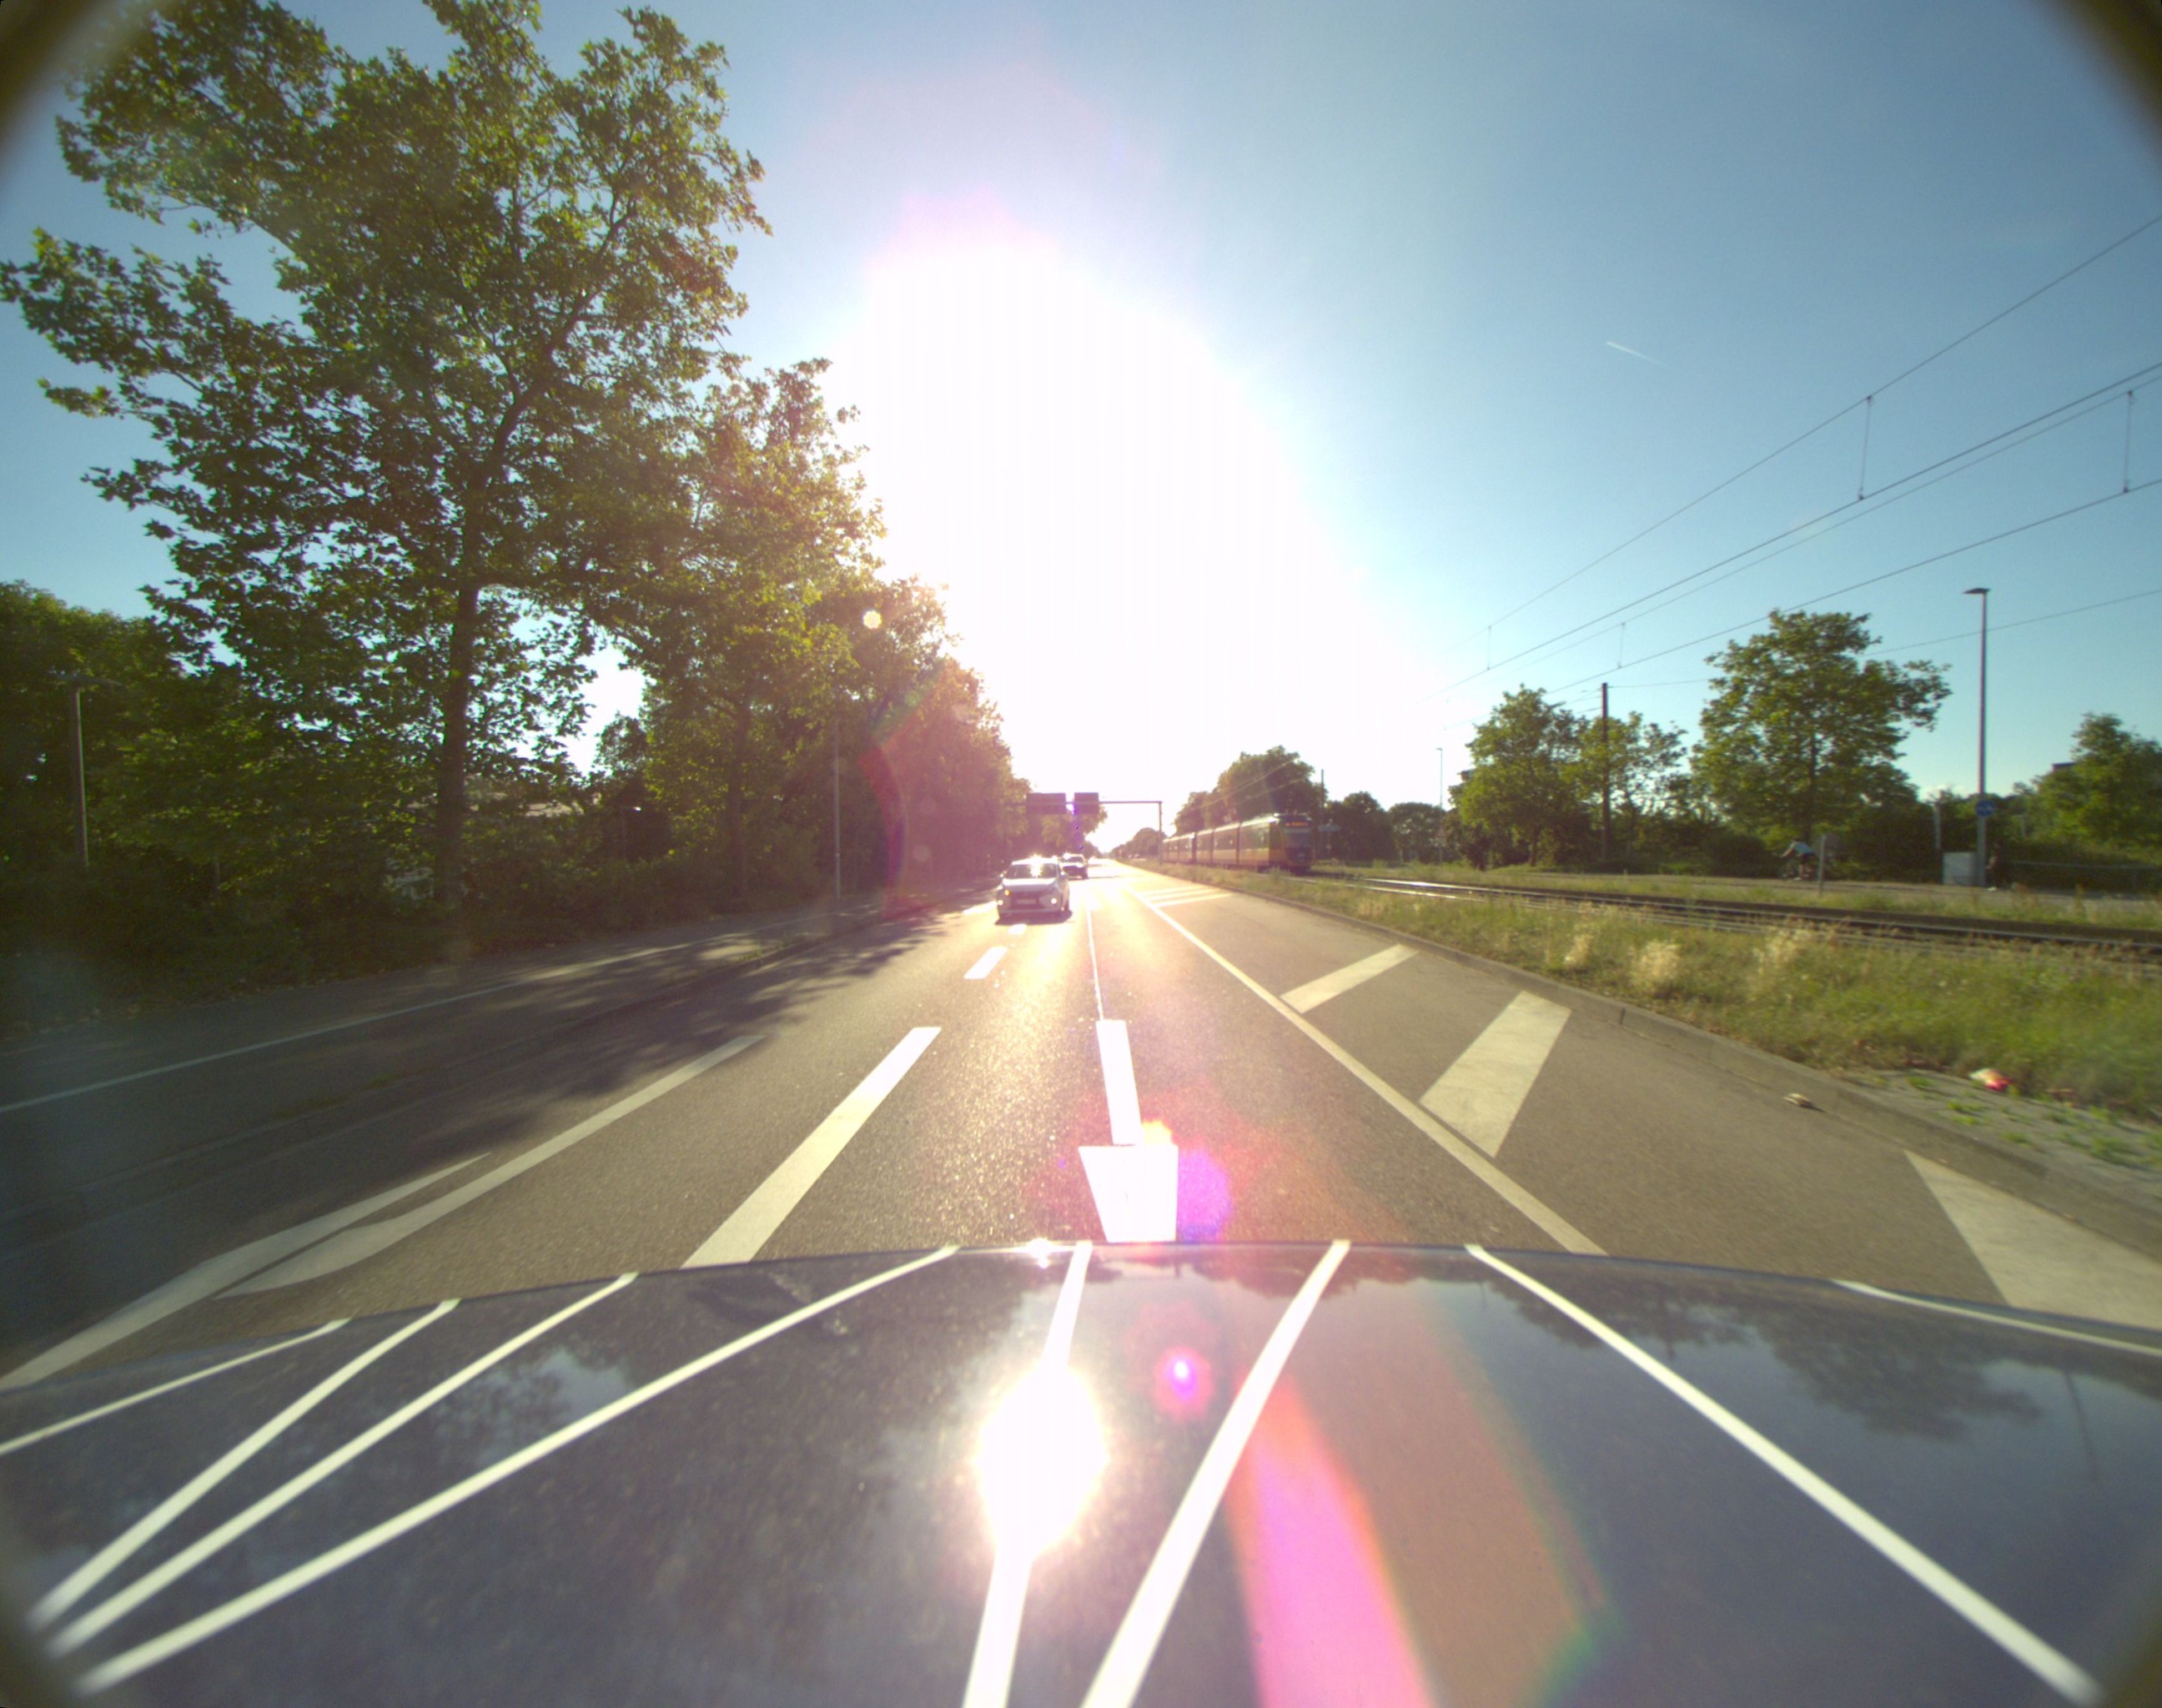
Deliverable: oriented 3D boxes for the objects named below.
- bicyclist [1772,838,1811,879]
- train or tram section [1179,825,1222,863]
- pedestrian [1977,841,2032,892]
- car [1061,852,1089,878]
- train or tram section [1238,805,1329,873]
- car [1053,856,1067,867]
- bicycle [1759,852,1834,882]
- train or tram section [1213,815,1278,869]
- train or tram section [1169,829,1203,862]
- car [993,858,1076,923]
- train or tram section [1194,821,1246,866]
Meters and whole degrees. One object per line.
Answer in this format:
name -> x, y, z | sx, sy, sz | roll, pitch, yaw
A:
bicyclist -> 28.370, 0.171, 30.357 | 0.770, 1.608, 0.835 | -1, 1, 1
train or tram section -> 13.435, -1.029, 86.706 | 2.891, 3.924, 13.659 | -1, 0, 1
pedestrian -> 29.892, 0.404, 24.615 | 0.722, 1.599, 0.879 | -1, 1, 1
car -> -0.399, 0.727, 51.979 | 1.824, 1.608, 3.999 | -2, 0, 0
train or tram section -> 13.058, -0.884, 50.383 | 2.891, 3.924, 12.112 | -1, 0, 1
car -> -2.695, 0.945, 97.349 | 1.744, 1.455, 3.999 | -1, 0, -1
bicycle -> 28.387, 0.490, 30.217 | 0.632, 1.121, 2.528 | -1, 0, 1
train or tram section -> 13.184, -0.931, 62.107 | 2.891, 3.924, 11.339 | -1, 0, 1
train or tram section -> 13.583, -1.089, 99.499 | 2.891, 3.924, 11.912 | -1, 0, 1
car -> -1.151, 0.925, 20.577 | 1.670, 1.465, 3.745 | -2, 1, 5
train or tram section -> 13.304, -0.985, 73.832 | 2.891, 3.924, 12.112 | -1, 0, 1
